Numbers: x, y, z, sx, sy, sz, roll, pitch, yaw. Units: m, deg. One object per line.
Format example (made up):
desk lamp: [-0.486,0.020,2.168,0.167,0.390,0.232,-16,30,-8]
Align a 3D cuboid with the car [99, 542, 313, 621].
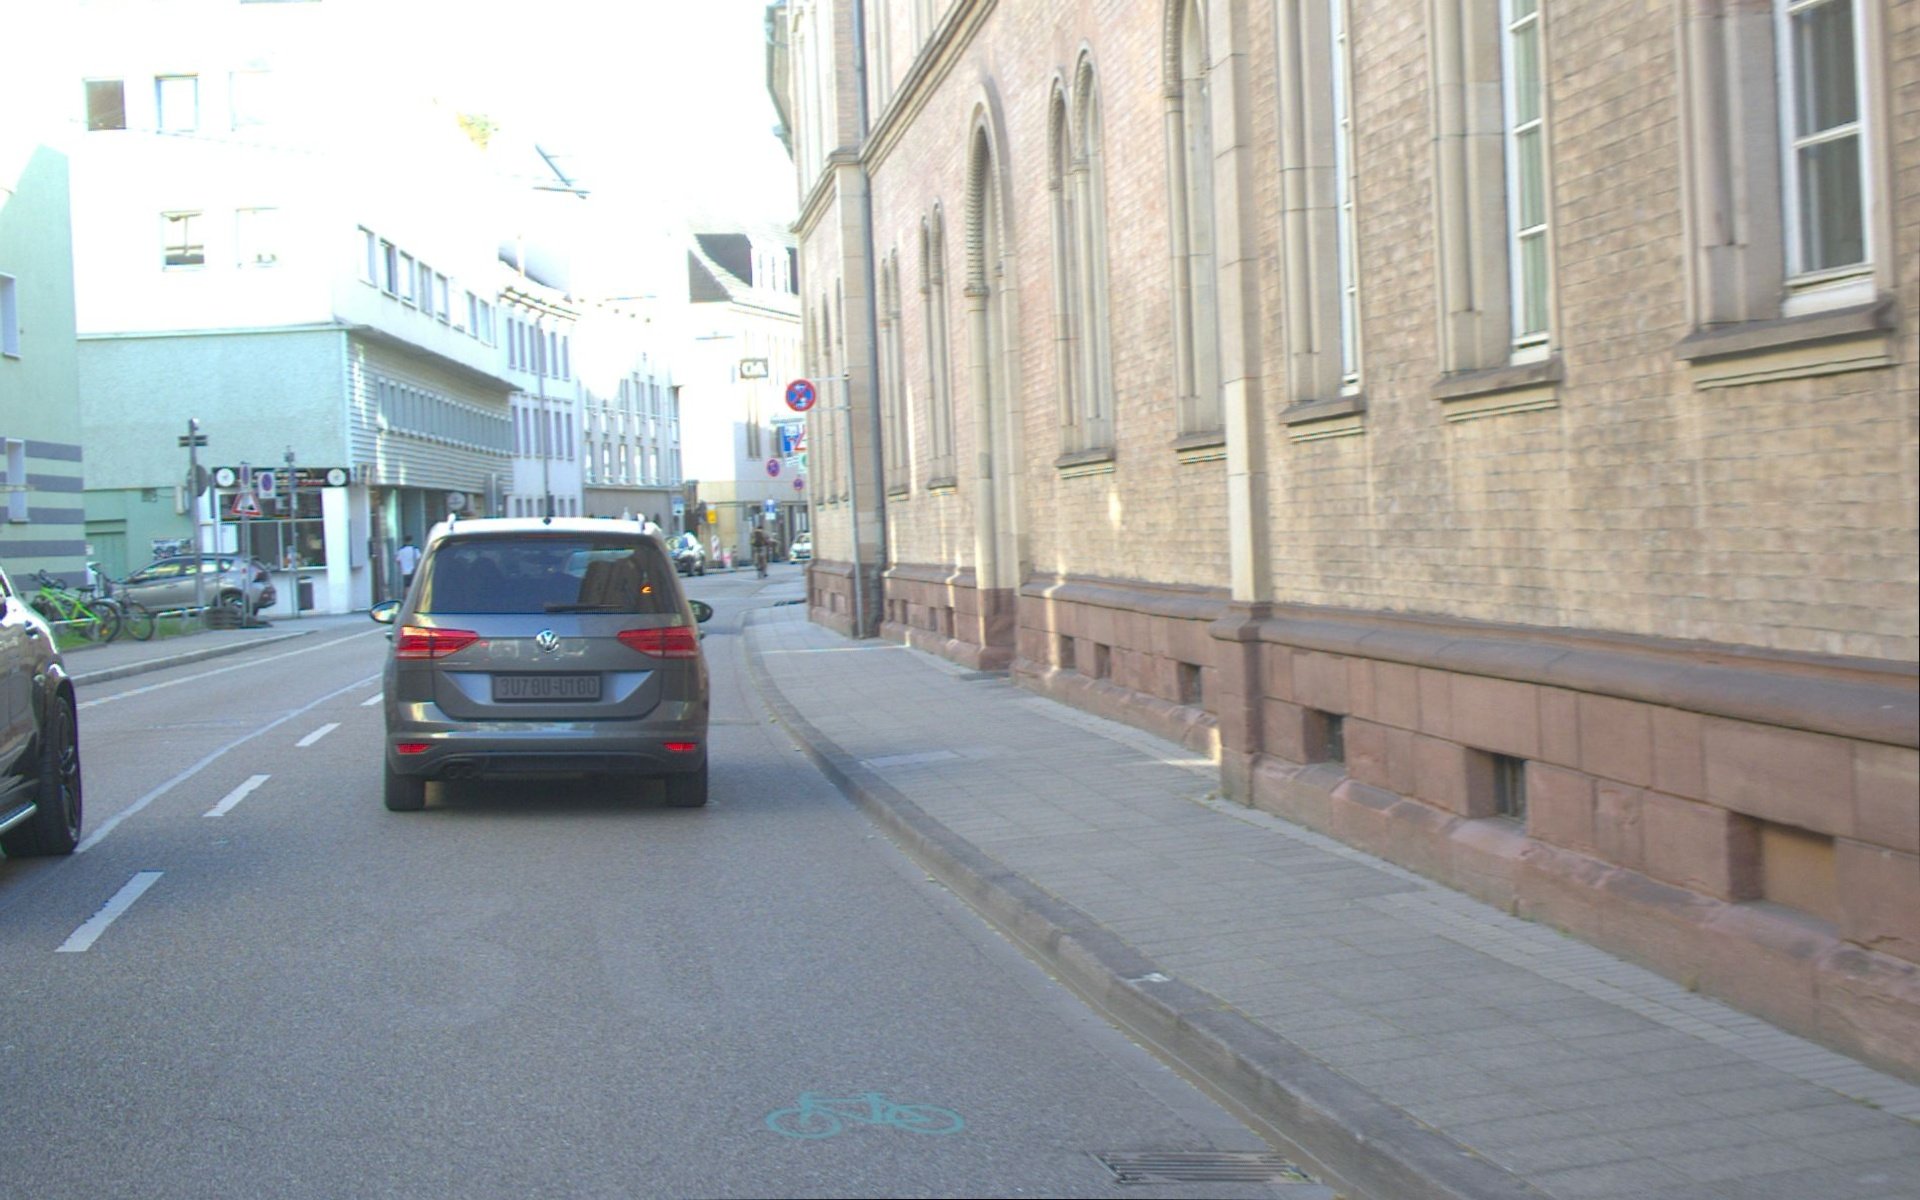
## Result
car: [-15.988,-0.400,73.062,4.098,1.438,1.948,-3,2,-2]

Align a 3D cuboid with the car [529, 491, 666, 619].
car: [-5.658,-0.732,53.978,1.993,1.875,4.001,-2,1,-5]

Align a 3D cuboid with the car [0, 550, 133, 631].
car: [-18.114,-0.171,67.071,3.500,1.438,1.814,-3,2,-2]

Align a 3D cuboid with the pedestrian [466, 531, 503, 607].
pedestrian: [-11.675,-0.769,84.483,0.556,1.823,0.730,-2,1,20]

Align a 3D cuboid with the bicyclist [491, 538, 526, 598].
bicyclist: [-12.019,-0.849,91.463,0.831,1.556,0.760,-2,1,-4]

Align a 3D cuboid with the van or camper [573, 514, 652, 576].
van or camper: [-11.758,-1.893,116.630,1.994,2.007,4.483,-2,1,2]

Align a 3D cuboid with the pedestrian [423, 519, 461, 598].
pedestrian: [-12.245,-0.985,81.306,0.556,1.823,0.730,-2,1,20]

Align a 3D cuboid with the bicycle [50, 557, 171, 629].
bicycle: [-14.119,-0.119,57.158,1.928,1.175,0.614,0,0,-12]

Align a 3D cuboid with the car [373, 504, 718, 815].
car: [-2.432,0.279,19.967,1.761,1.601,4.001,1,1,-8]

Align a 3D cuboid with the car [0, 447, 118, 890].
car: [-5.053,0.311,15.085,1.899,1.828,5.096,-4,2,-7]

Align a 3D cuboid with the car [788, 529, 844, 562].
car: [-6.847,-2.624,163.894,1.734,1.463,3.998,-2,1,11]

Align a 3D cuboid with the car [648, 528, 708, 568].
car: [-10.917,-2.027,133.382,1.865,1.463,3.834,-2,1,1]

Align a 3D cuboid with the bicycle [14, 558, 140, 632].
bicycle: [-14.297,-0.080,55.676,1.928,1.175,0.614,0,0,-19]
